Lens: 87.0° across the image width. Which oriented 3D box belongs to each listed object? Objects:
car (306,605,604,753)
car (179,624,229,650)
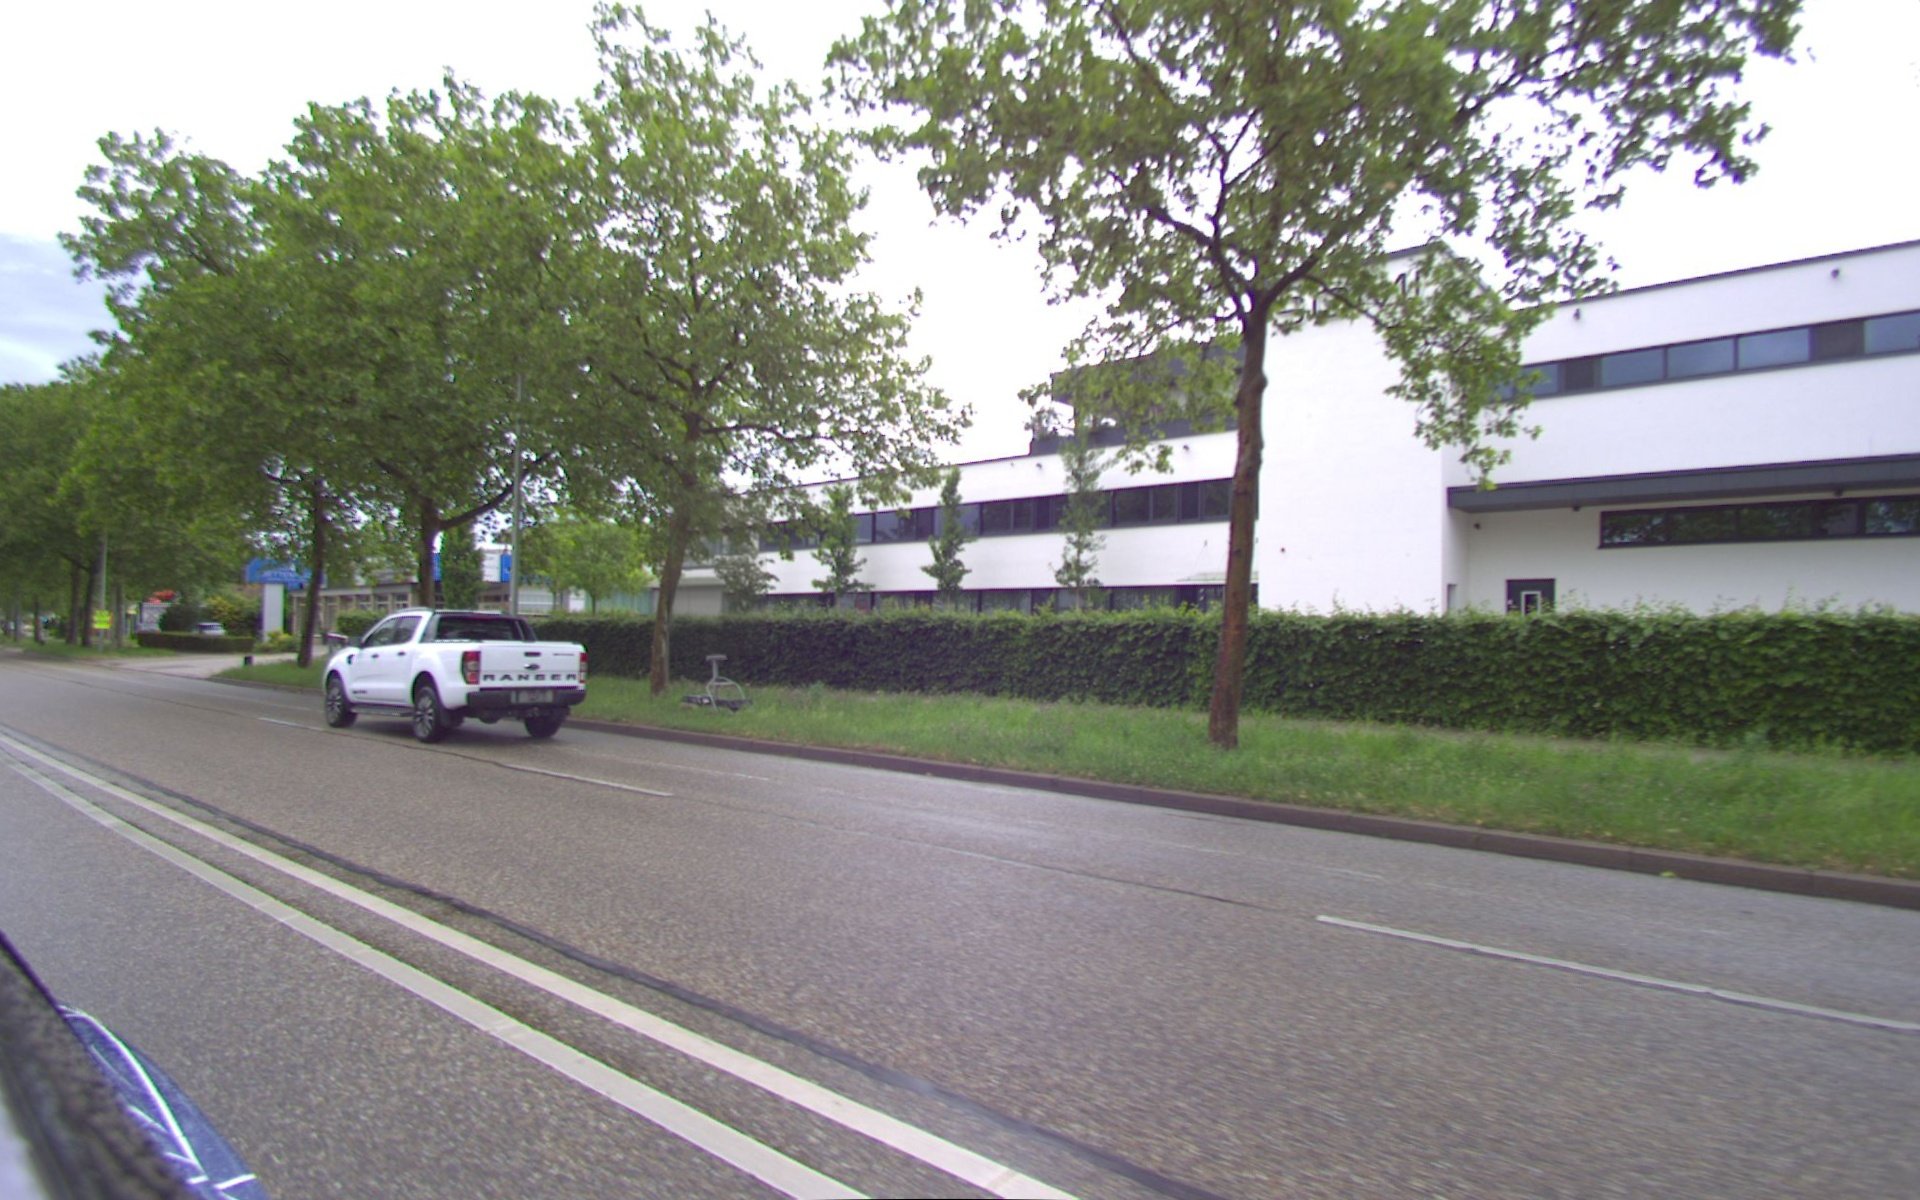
[{"bbox_3d":[-7.579,1.063,14.908,5.336,1.819,1.892,-1,-4,40],"label":"car"},{"bbox_3d":[-47.506,2.318,63.598,3.999,1.545,1.723,-1,-4,42],"label":"car"}]
